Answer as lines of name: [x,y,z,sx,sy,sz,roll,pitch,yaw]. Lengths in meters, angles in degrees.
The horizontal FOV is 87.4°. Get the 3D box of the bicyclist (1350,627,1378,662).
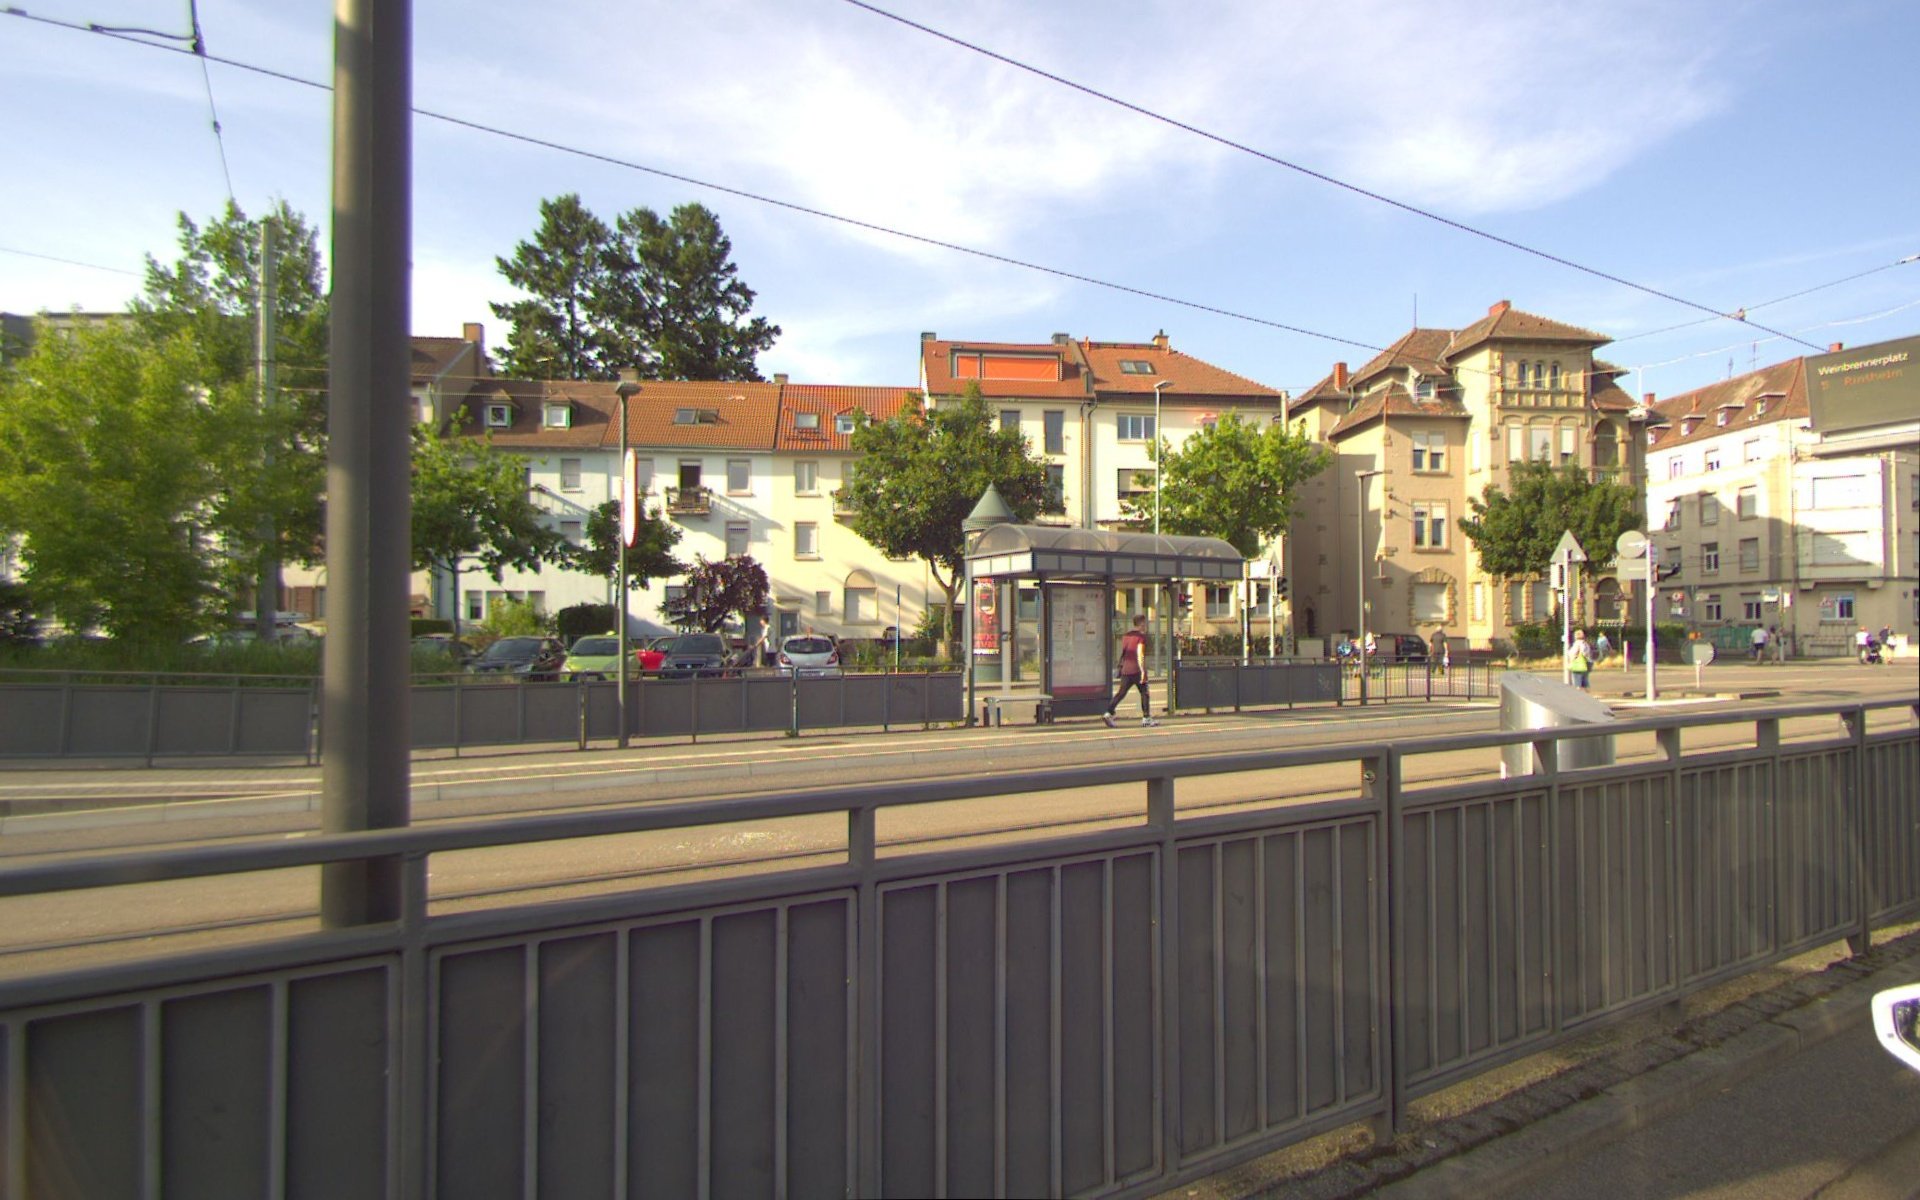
bicyclist: [12.547,1.384,31.211,0.671,1.058,0.510,1,-2,-31]

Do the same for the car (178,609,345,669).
car: [-18.659,1.047,27.076,1.813,1.505,3.999,0,-2,-3]

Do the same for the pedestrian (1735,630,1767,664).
pedestrian: [36.584,2.180,46.450,0.768,1.572,0.831,0,-2,-8]

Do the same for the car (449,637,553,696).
car: [-11.882,1.674,26.247,1.968,1.416,3.985,1,-2,-18]

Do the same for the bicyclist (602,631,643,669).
bicyclist: [-11.411,1.688,33.974,1.153,1.278,0.765,0,-2,-8]

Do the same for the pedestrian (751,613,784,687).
pedestrian: [-4.705,1.211,24.565,0.750,1.769,0.547,0,-2,-15]

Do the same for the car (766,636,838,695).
car: [-4.348,1.764,27.818,1.815,1.505,3.995,0,-2,-9]

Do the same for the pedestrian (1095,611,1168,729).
pedestrian: [2.571,1.048,15.039,0.867,1.706,0.551,1,-5,-30]

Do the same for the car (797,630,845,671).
car: [-6.057,2.196,44.200,1.962,1.684,3.997,0,-2,-6]

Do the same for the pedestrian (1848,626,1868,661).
pedestrian: [42.621,2.048,47.659,0.601,1.647,0.506,1,-2,-29]

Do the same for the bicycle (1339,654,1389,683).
bicycle: [12.540,2.115,31.177,1.667,0.845,0.523,1,-2,-31]

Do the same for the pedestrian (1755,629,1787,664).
pedestrian: [36.821,2.123,45.606,0.768,1.572,0.831,0,-2,-8]

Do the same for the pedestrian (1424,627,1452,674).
pedestrian: [17.104,1.787,35.937,0.778,1.667,0.757,-1,-2,16]

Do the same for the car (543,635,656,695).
car: [-9.664,1.711,27.256,1.813,1.505,3.999,0,-2,-3]

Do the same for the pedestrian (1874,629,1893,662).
pedestrian: [43.093,2.124,46.871,0.540,1.520,0.437,0,-2,-15]

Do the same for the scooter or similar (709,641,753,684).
scooter or similar: [-5.550,1.509,24.335,1.006,1.001,0.556,0,-2,-15]

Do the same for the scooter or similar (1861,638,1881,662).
scooter or similar: [43.565,2.395,48.033,0.675,1.093,0.541,2,0,-30]

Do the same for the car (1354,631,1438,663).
car: [20.371,2.173,47.120,1.732,1.327,4.111,2,0,-7]

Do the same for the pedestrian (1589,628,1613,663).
pedestrian: [28.715,2.044,44.973,0.702,1.561,0.626,1,-2,-30]

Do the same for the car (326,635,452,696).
car: [-14.403,1.599,25.587,1.968,1.416,3.985,1,-2,-18]

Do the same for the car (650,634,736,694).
car: [-7.165,1.681,27.280,1.815,1.505,3.995,0,-2,-9]

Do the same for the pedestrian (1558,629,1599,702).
pedestrian: [14.165,1.489,23.006,0.627,1.620,0.608,1,-2,-36]

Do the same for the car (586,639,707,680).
car: [-11.225,2.120,36.241,3.927,1.416,1.836,0,-2,-9]

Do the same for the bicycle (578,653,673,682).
bicycle: [-11.275,2.266,33.937,2.942,0.926,0.786,0,-2,-8]
